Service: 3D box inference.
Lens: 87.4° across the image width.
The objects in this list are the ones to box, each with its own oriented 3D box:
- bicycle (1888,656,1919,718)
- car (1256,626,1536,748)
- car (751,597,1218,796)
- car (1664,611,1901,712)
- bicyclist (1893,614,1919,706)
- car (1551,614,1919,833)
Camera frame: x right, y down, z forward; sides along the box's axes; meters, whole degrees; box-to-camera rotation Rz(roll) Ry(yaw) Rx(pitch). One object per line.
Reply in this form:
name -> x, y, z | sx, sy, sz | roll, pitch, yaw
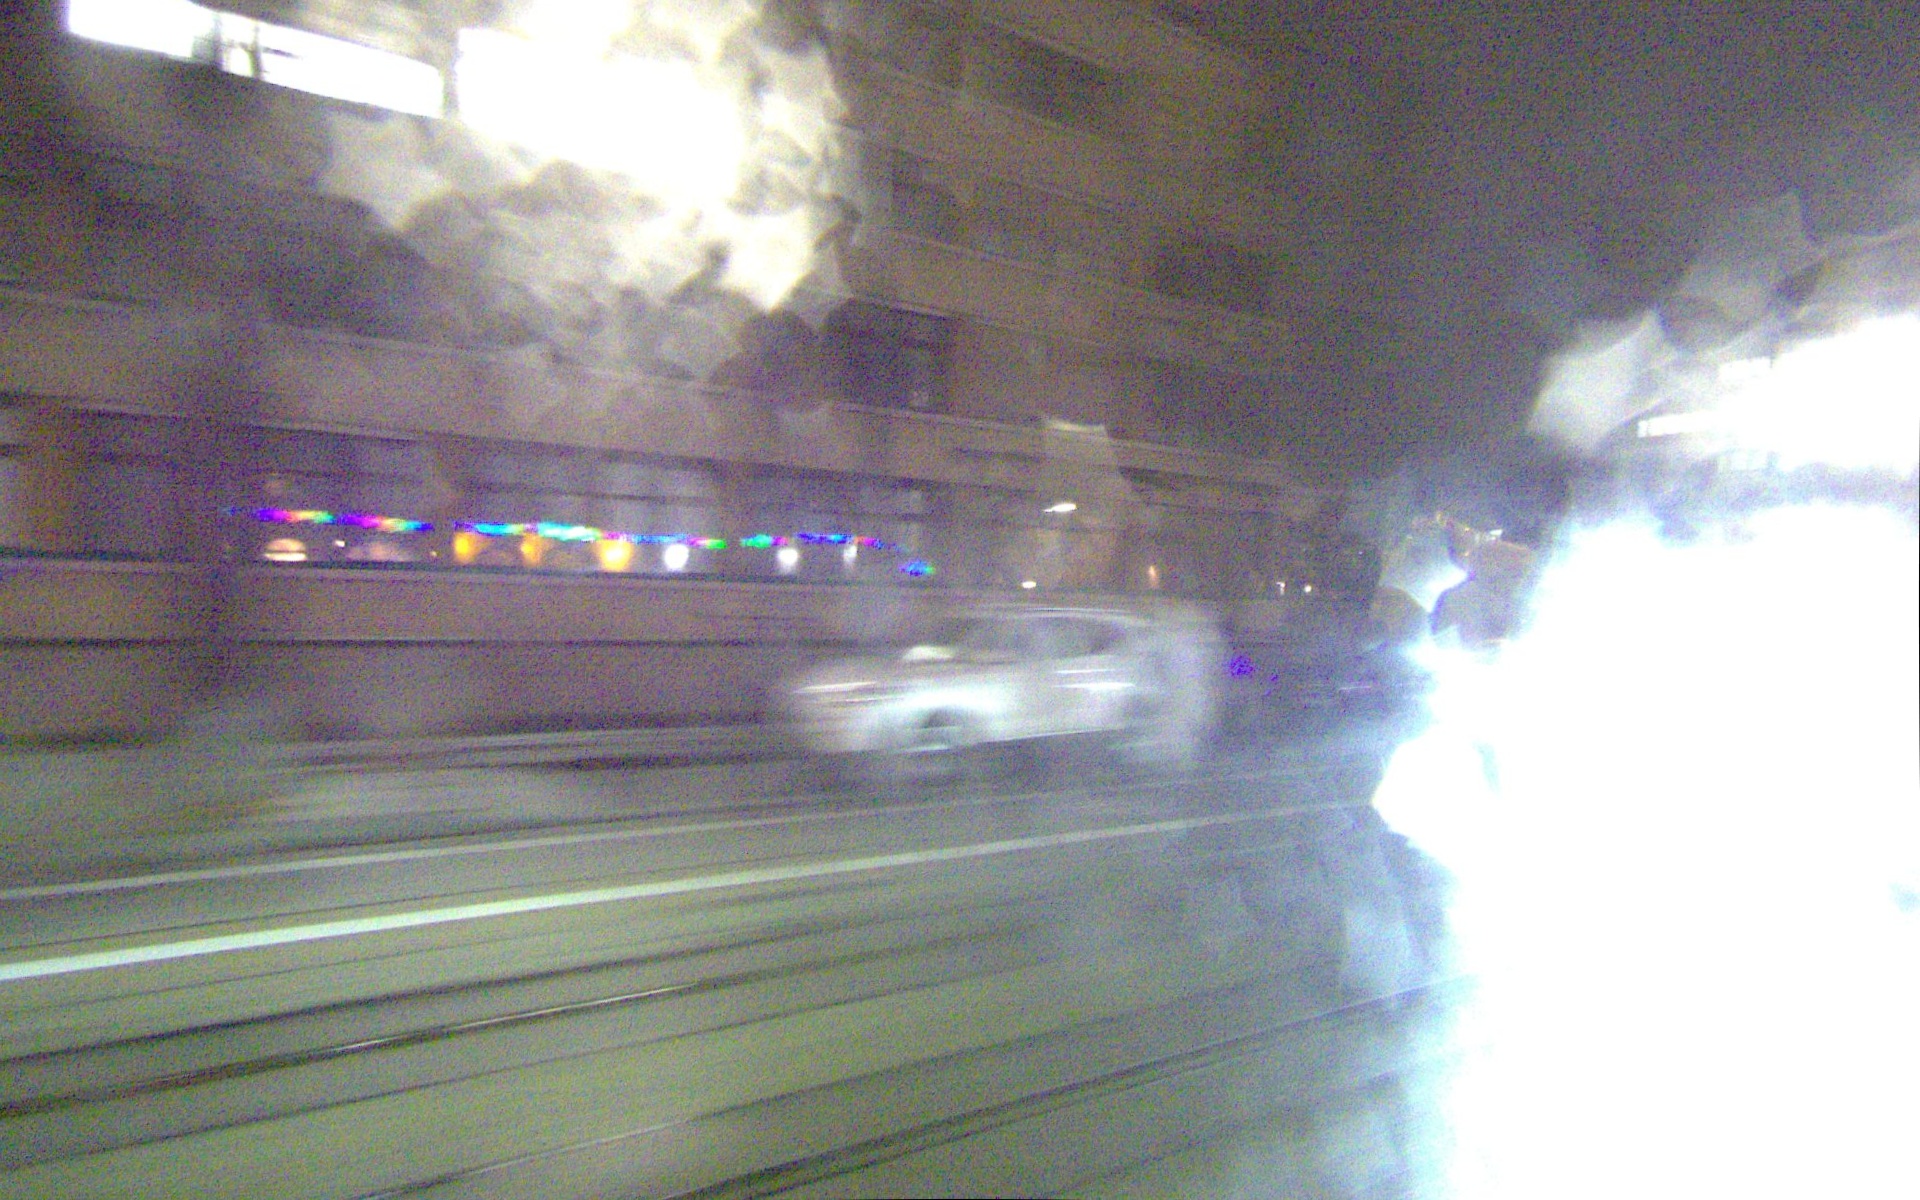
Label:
bicycle -> 17.986, 1.586, 18.510 | 1.896, 1.096, 0.779 | 2, -3, -31
car -> 5.987, 1.076, 13.672 | 3.873, 1.440, 1.681 | 1, -1, -34
car -> 0.326, 0.863, 10.375 | 4.465, 1.653, 1.973 | 2, -1, -31
car -> 15.837, 1.129, 19.302 | 4.545, 1.678, 1.960 | 2, 1, -29
bicyclist -> 17.988, 1.101, 18.532 | 1.192, 1.677, 0.779 | 2, -3, -30
car -> 7.246, 0.915, 8.891 | 4.003, 1.538, 1.767 | 1, -1, -30
